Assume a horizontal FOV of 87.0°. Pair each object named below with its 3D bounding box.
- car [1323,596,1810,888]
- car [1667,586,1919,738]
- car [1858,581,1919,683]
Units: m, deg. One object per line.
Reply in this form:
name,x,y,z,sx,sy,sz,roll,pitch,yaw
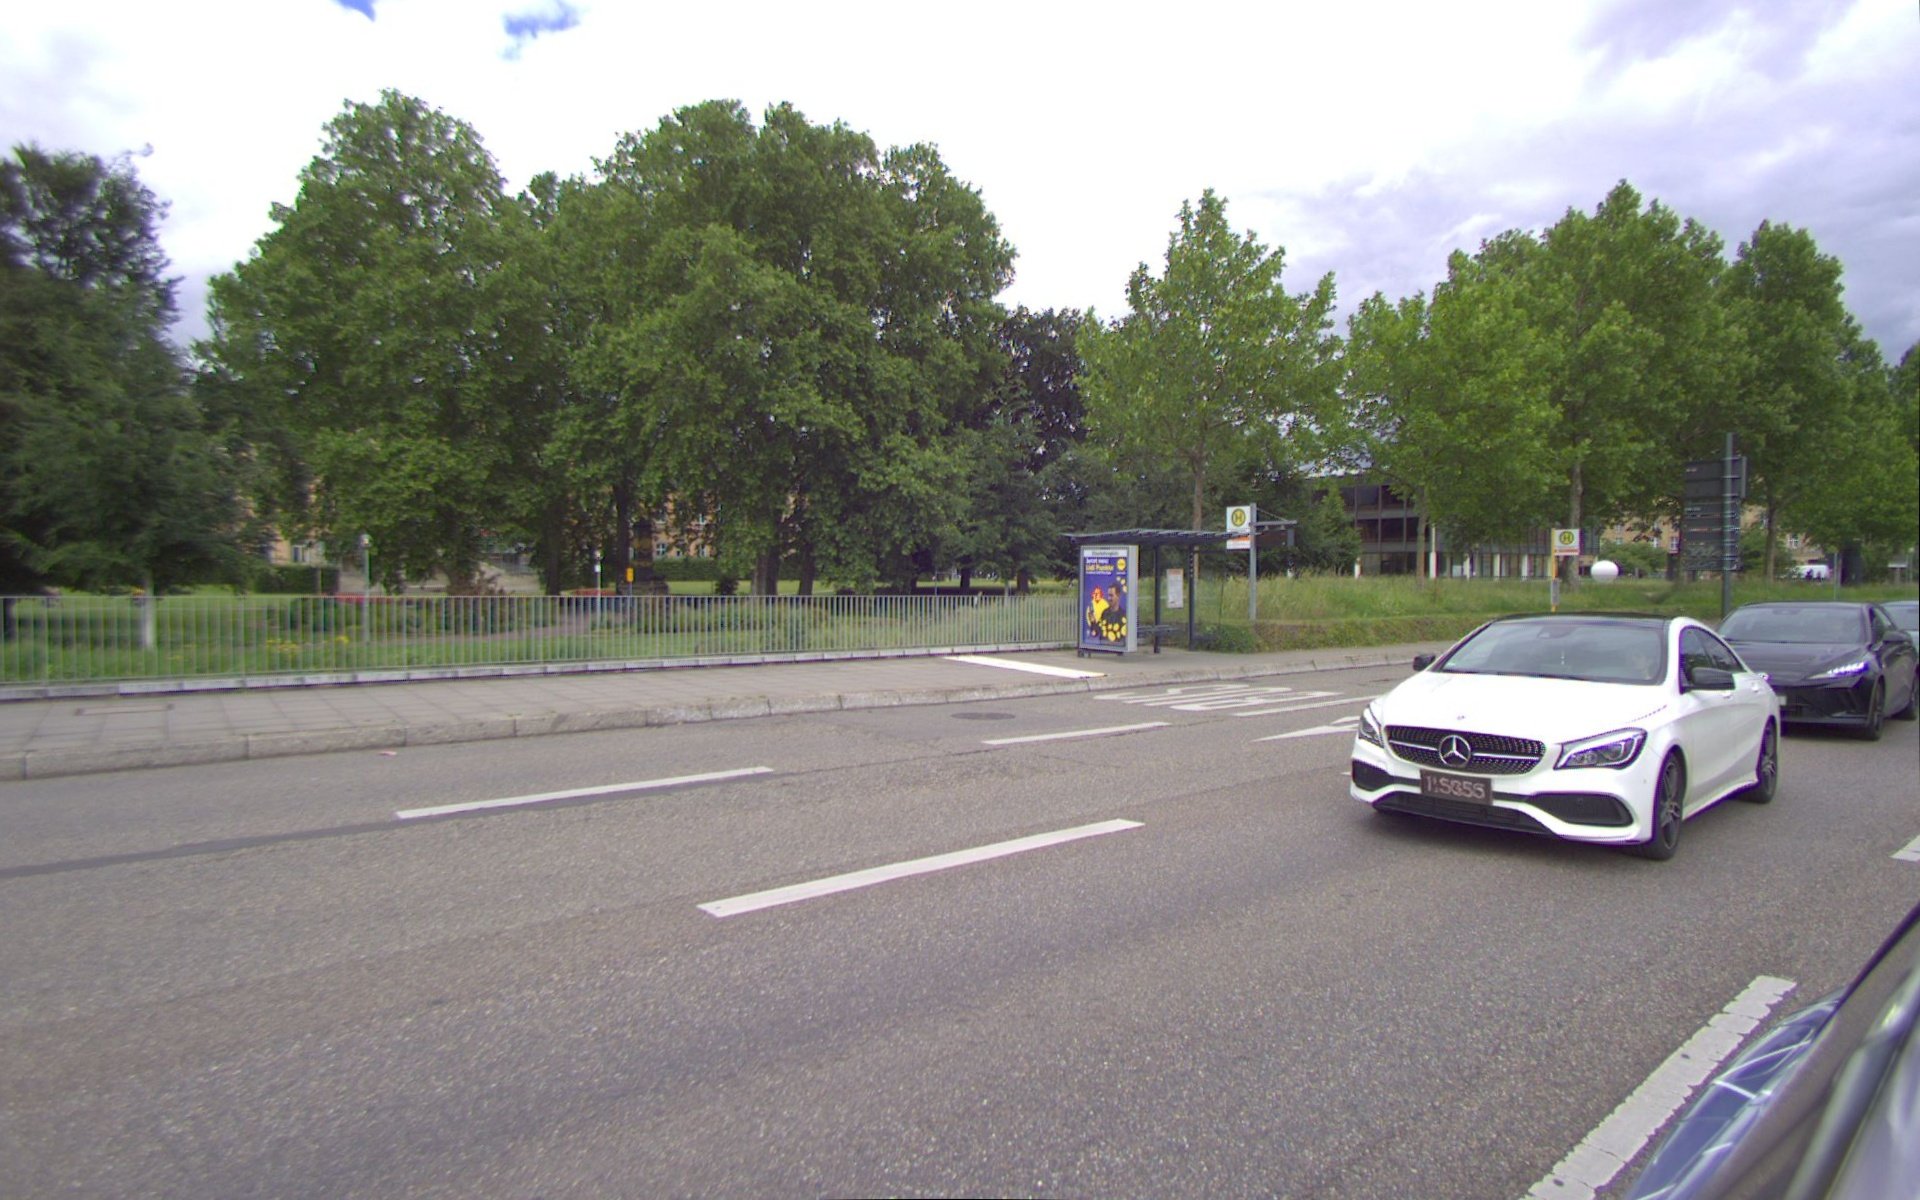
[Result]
car,4.541,0.716,7.261,4.427,1.441,1.722,-1,1,-41
car,10.253,0.623,12.231,4.046,1.543,1.829,0,0,-40
car,16.160,0.472,16.568,3.929,1.556,1.573,-1,1,-39
